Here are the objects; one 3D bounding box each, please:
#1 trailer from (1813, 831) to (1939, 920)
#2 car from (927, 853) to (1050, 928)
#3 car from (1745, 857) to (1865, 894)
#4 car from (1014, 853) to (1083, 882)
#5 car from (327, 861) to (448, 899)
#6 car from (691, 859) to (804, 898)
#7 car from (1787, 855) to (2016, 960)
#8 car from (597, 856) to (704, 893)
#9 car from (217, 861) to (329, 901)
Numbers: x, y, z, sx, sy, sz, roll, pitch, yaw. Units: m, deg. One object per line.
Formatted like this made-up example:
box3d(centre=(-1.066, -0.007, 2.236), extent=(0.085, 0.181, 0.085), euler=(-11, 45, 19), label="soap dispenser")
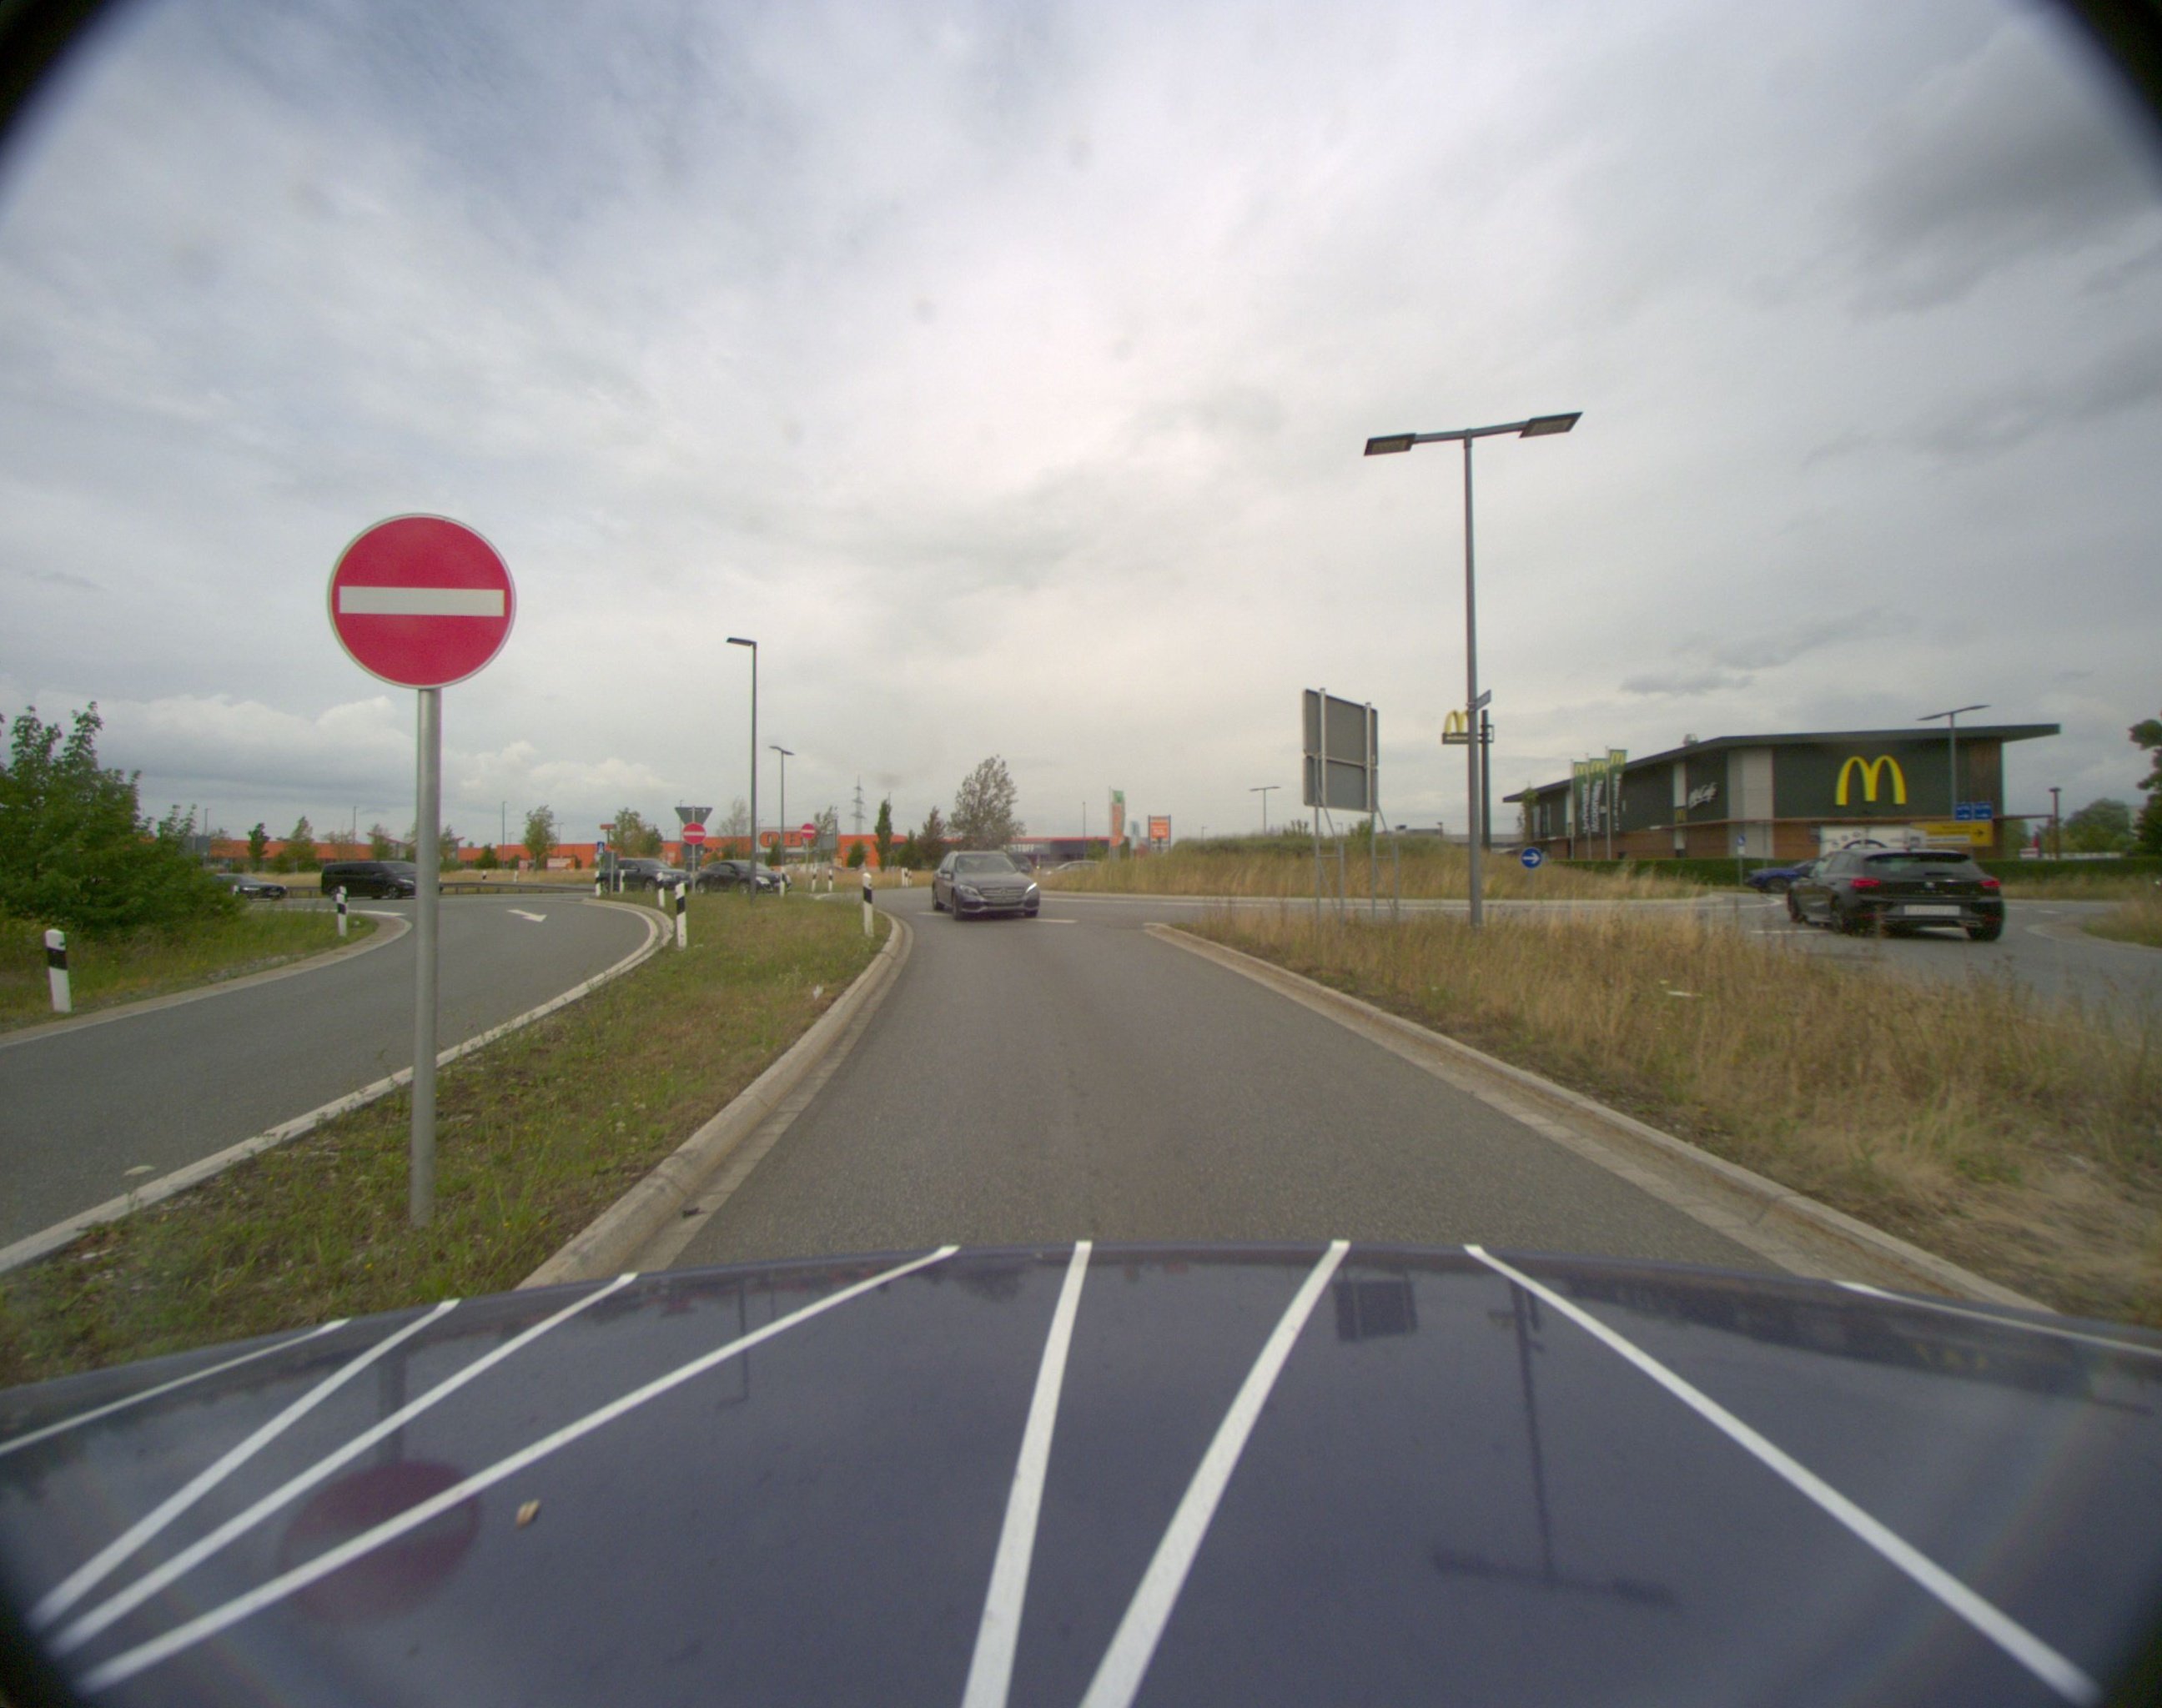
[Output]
box3d(centre=(20.830, 0.525, 19.871), extent=(4.154, 2.079, 1.807), euler=(1, 0, -37), label="trailer")
box3d(centre=(-2.275, 0.727, 17.558), extent=(1.909, 1.488, 4.331), euler=(-1, 0, -19), label="car")
box3d(centre=(32.387, 0.961, 34.096), extent=(3.804, 1.541, 1.766), euler=(-2, -1, 43), label="car")
box3d(centre=(-2.023, 0.828, 46.829), extent=(4.001, 1.648, 1.998), euler=(-1, -1, -12), label="car")
box3d(centre=(-33.088, 1.240, 36.305), extent=(4.738, 1.711, 1.724), euler=(-1, 0, 11), label="car")
box3d(centre=(-12.900, 0.936, 29.334), extent=(4.134, 1.362, 1.847), euler=(-1, 0, 30), label="car")
box3d(centre=(13.515, 0.772, 12.805), extent=(1.641, 1.450, 3.775), euler=(-1, 0, 31), label="car")
box3d(centre=(-19.168, 0.908, 33.833), extent=(4.266, 1.573, 1.887), euler=(-1, 0, 22), label="car")
box3d(centre=(-40.516, 1.325, 38.126), extent=(3.995, 1.871, 1.807), euler=(-1, 0, 7), label="car")
